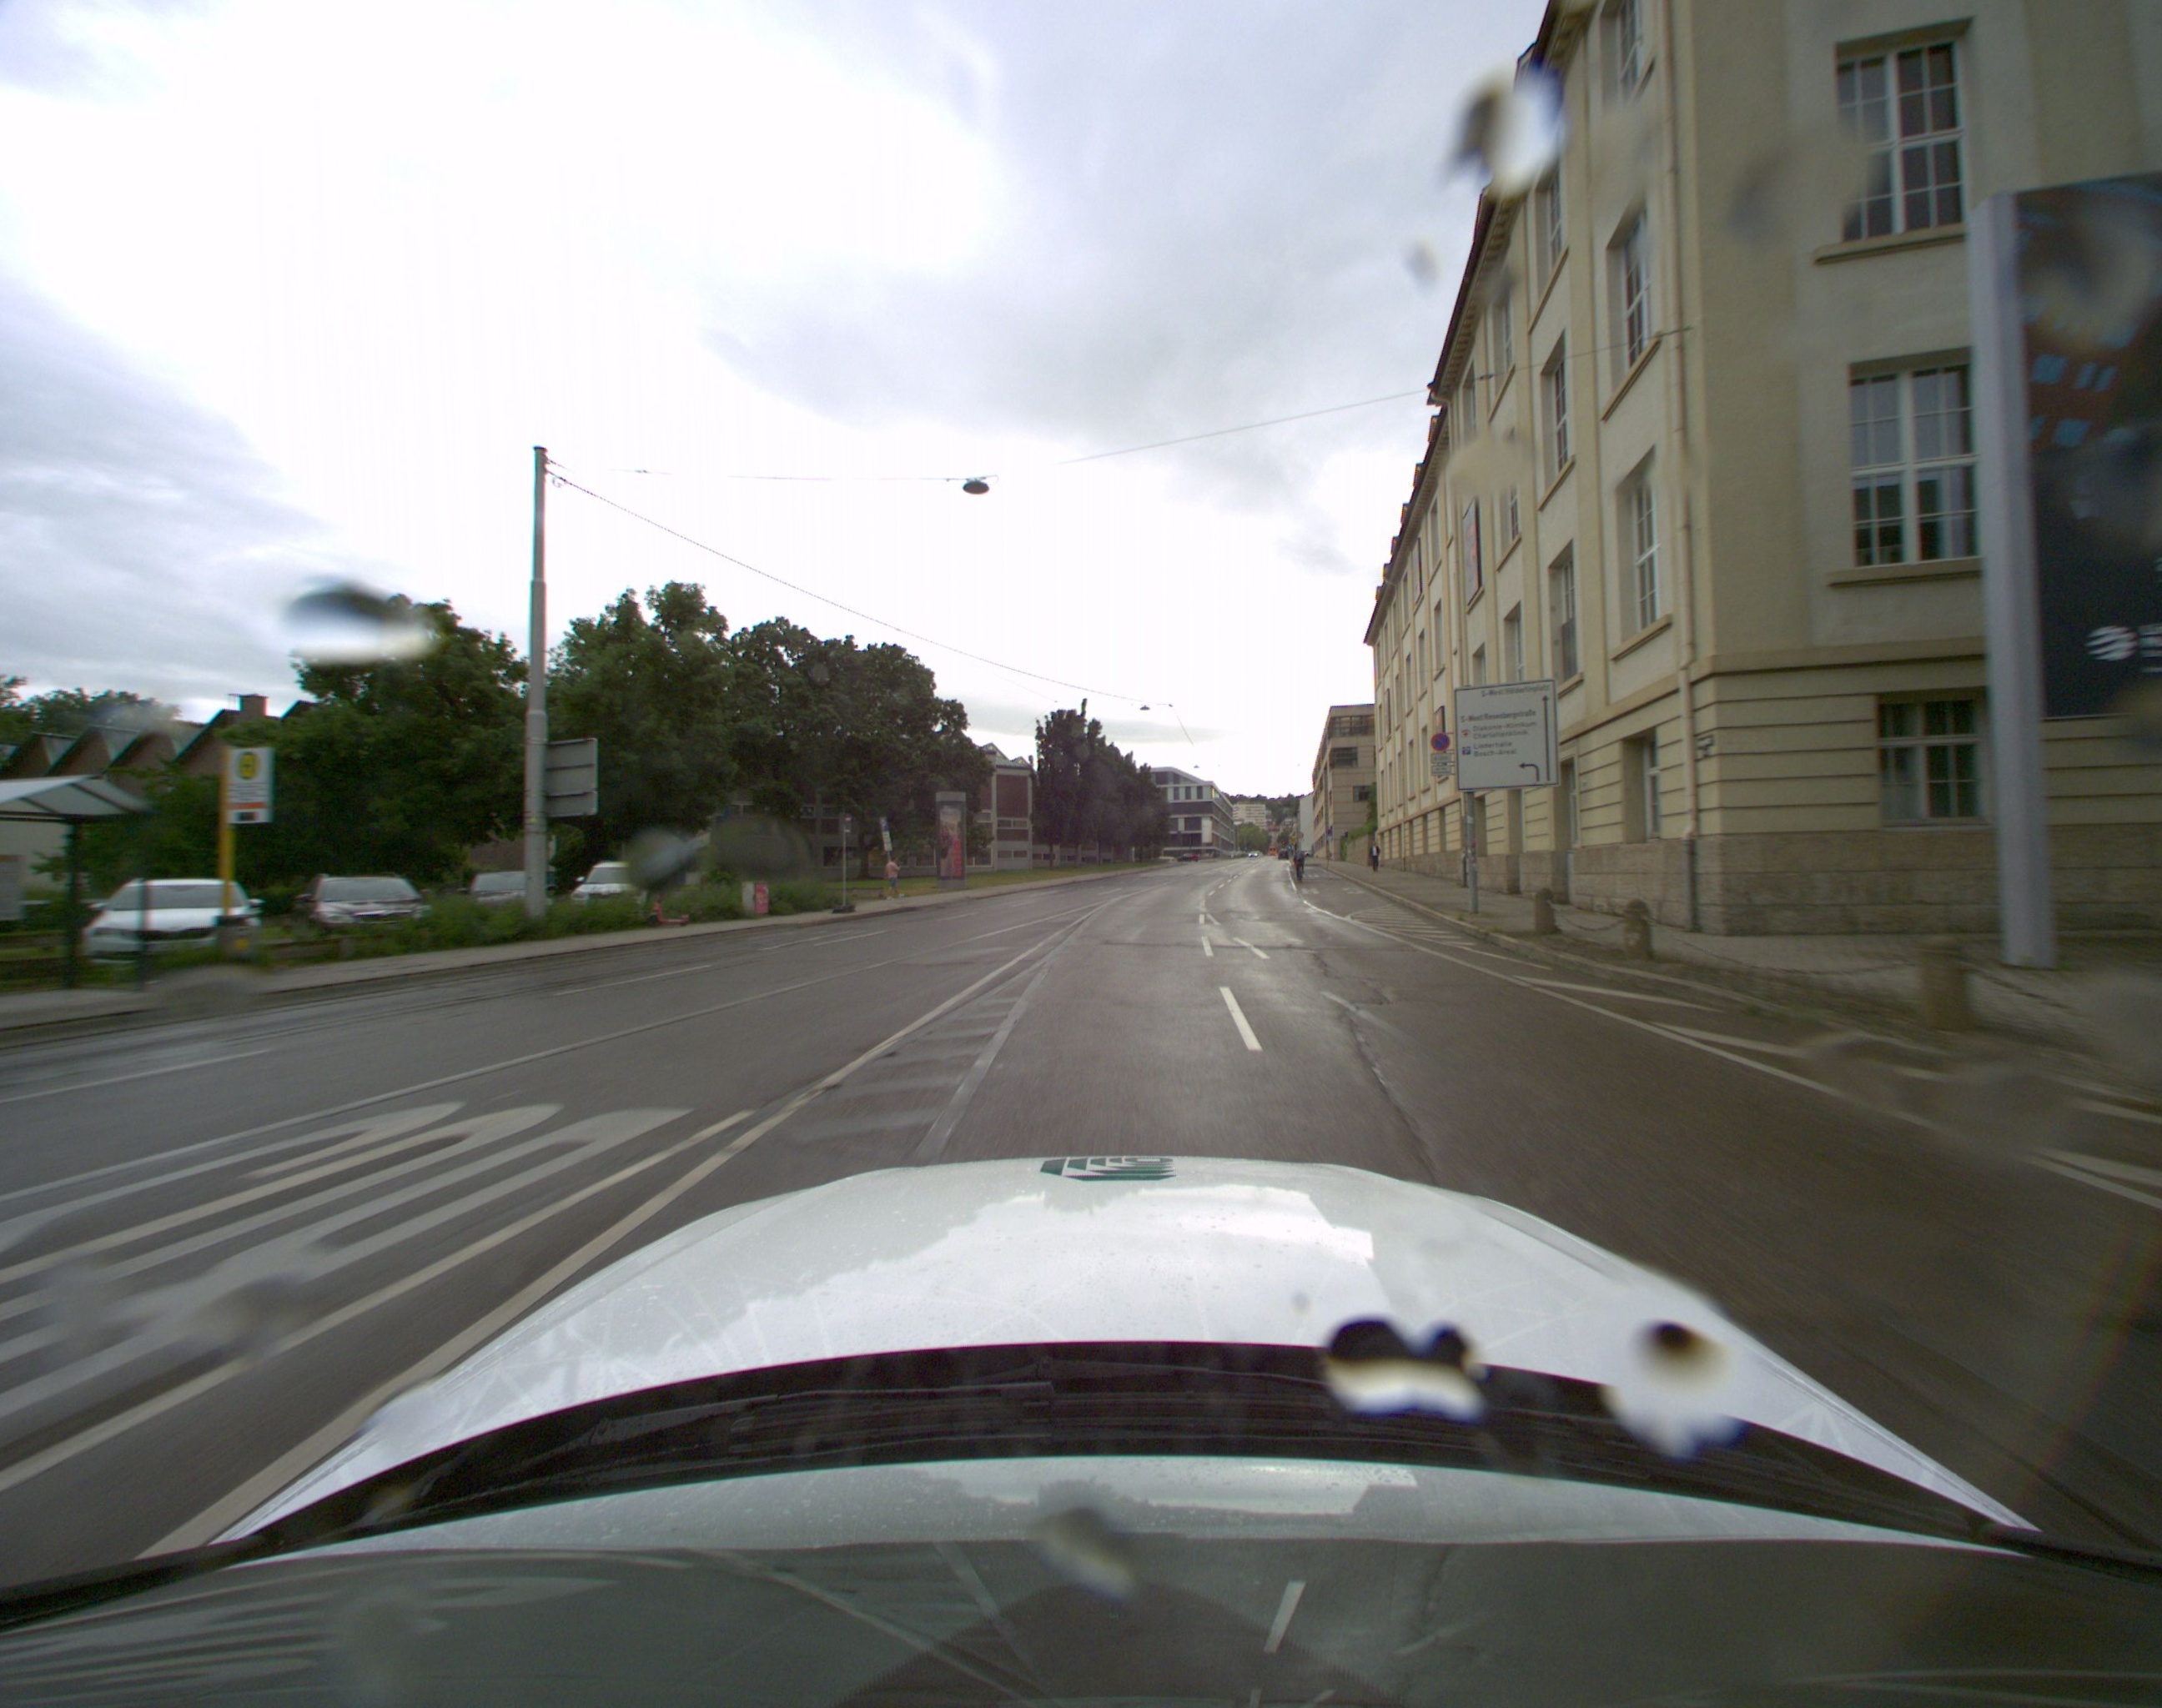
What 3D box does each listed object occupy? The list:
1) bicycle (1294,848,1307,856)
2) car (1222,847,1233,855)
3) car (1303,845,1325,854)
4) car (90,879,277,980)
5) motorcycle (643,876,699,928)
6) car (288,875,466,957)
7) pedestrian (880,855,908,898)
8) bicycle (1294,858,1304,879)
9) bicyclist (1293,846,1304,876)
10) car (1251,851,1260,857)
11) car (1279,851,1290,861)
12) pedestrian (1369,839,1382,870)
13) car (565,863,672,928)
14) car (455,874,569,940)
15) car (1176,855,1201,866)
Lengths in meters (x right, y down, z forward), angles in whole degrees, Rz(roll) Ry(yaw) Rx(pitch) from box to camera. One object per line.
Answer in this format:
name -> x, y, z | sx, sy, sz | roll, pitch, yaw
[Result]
bicycle -> 31.513, -0.245, 117.109 | 1.719, 1.119, 0.661 | -1, -1, 8
car -> 30.570, -0.518, 169.841 | 1.836, 1.617, 4.508 | -1, 0, 14
car -> 51.119, -0.926, 178.706 | 4.407, 1.713, 1.912 | -4, -1, 13
car -> -15.258, 1.158, 13.984 | 4.325, 1.349, 1.916 | -1, 0, 43
motorcycle -> -10.204, 1.176, 20.306 | 0.511, 1.247, 1.272 | -1, -1, 15
car -> -14.311, 1.145, 16.474 | 4.524, 1.349, 1.916 | -1, 0, 39
pedestrian -> -7.403, 0.890, 32.289 | 0.664, 1.686, 0.918 | -1, -1, 21
bicycle -> 10.623, 0.703, 39.657 | 0.444, 0.963, 1.697 | -1, 0, 16
bicyclist -> 10.619, 0.343, 39.670 | 0.480, 1.433, 0.934 | -1, -1, 16
car -> 43.927, 0.030, 204.699 | 1.867, 1.491, 5.242 | -4, 0, 16
car -> 34.893, 0.358, 139.852 | 1.759, 1.604, 4.409 | -1, 0, 13
pedestrian -> 17.356, 0.015, 48.028 | 0.665, 1.798, 0.855 | -1, -1, 15
car -> -12.923, 1.083, 23.050 | 1.869, 1.609, 4.496 | 0, 0, -20
car -> -13.732, 1.193, 19.579 | 1.853, 1.349, 3.554 | 0, 0, -42
car -> 18.338, 1.116, 138.927 | 3.875, 1.816, 1.943 | -1, -1, 16
